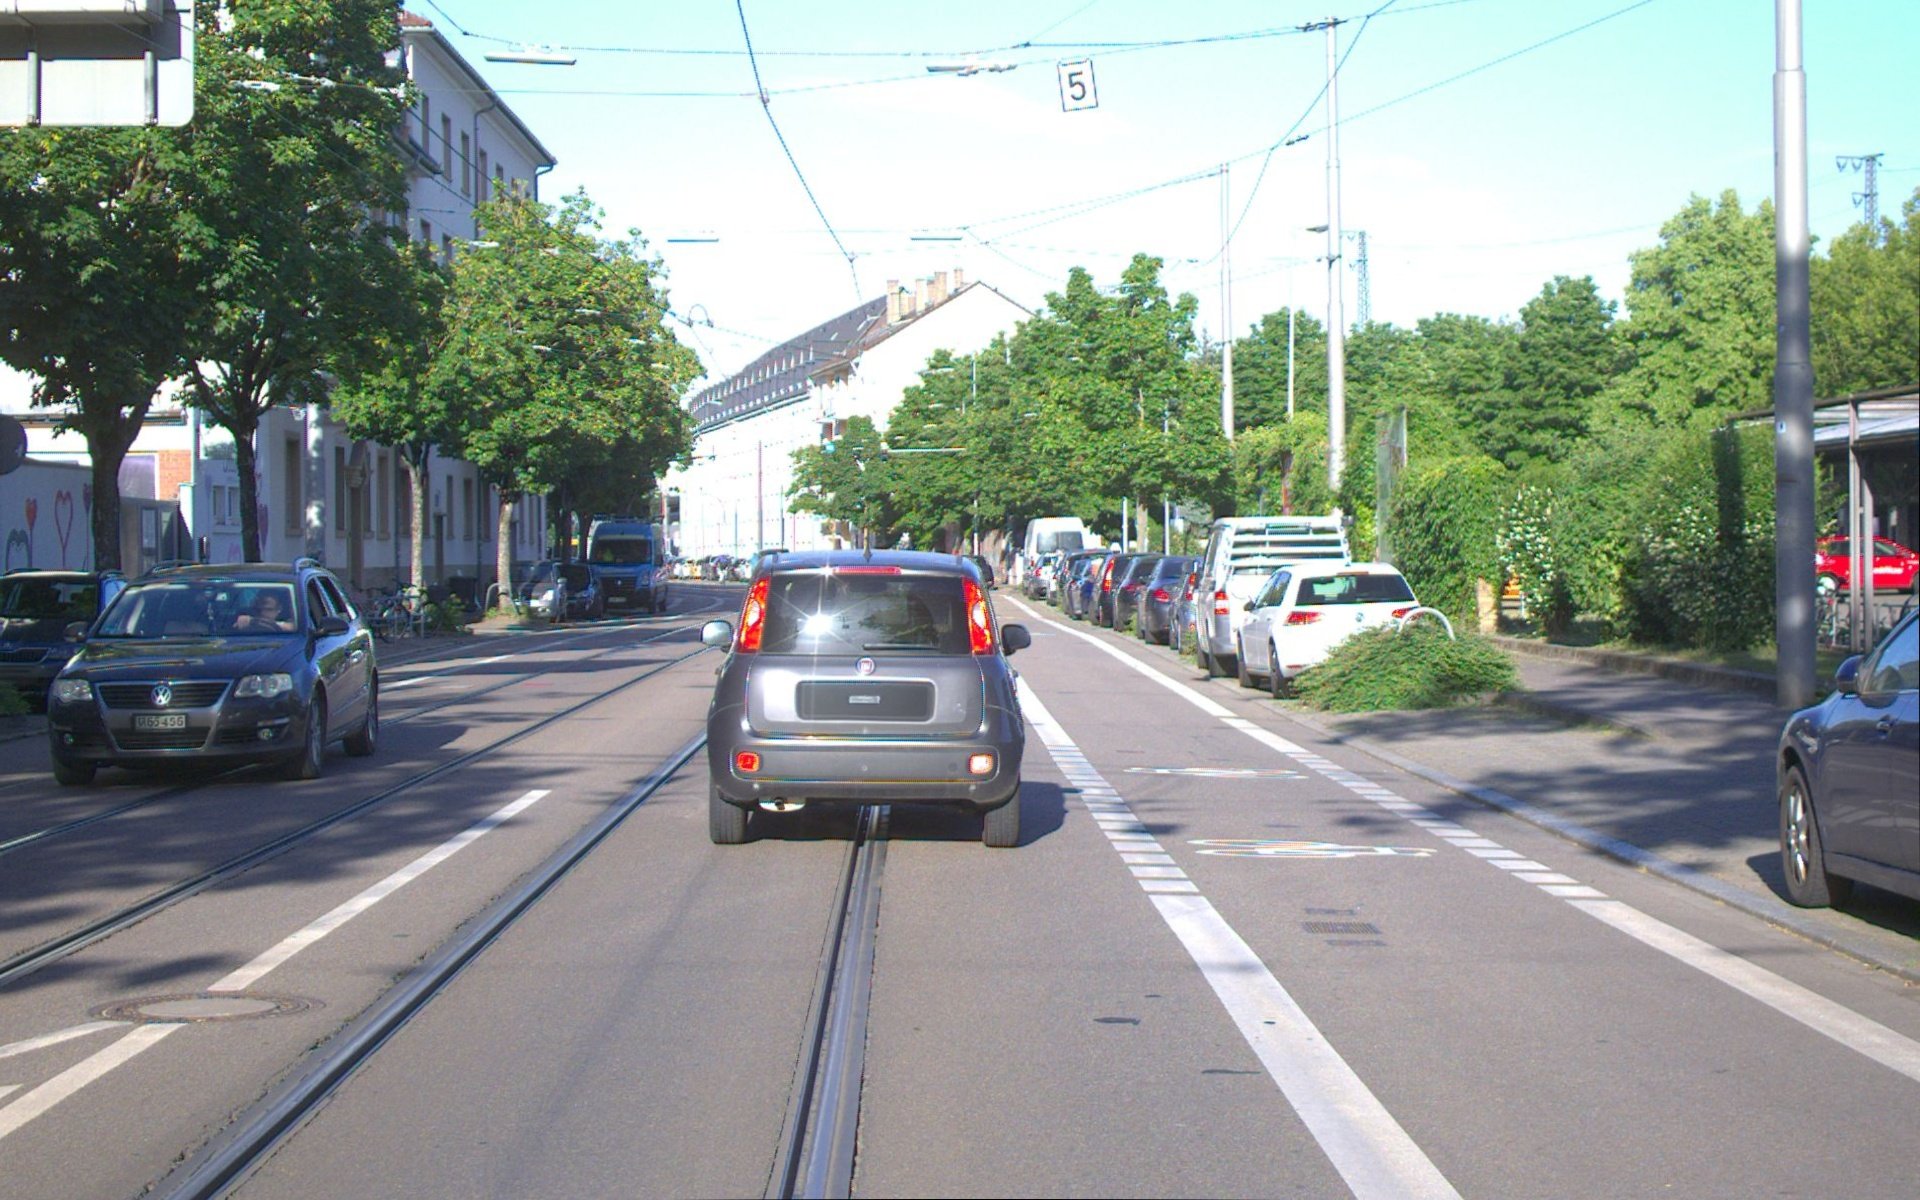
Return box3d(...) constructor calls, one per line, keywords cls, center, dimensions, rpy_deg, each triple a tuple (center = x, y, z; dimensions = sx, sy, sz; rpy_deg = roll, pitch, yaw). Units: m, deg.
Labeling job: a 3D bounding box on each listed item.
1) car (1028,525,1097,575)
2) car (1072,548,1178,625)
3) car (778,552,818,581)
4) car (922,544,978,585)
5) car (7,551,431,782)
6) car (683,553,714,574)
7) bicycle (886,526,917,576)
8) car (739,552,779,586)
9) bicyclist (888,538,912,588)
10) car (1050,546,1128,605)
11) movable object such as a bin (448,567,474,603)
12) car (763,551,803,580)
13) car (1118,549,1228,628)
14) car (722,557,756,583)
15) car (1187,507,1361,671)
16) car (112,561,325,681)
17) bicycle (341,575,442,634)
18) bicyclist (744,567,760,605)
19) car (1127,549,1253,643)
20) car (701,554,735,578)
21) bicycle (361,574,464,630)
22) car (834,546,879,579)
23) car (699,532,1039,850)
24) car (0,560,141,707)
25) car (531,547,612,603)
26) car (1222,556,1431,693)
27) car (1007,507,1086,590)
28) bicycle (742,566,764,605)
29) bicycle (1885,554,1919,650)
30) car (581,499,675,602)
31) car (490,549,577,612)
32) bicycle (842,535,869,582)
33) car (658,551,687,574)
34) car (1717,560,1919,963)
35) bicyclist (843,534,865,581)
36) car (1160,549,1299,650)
box3d(cls="car", center=(3.236, -1.586, 109.511), dimensions=(1.910, 1.524, 4.601), rpy_deg=(-1, 1, -2))
box3d(cls="car", center=(3.443, -0.293, 72.226), dimensions=(1.824, 1.487, 3.815), rpy_deg=(-2, 1, -2))
box3d(cls="car", center=(-8.732, -1.802, 185.049), dimensions=(1.655, 1.566, 3.500), rpy_deg=(1, 0, -11))
box3d(cls="car", center=(-0.408, -1.405, 135.448), dimensions=(1.688, 1.525, 4.001), rpy_deg=(-2, 1, -7))
box3d(cls="car", center=(-5.140, 0.410, 24.504), dimensions=(1.766, 1.458, 4.747), rpy_deg=(-1, 0, 3))
box3d(cls="car", center=(-17.243, -2.405, 226.348), dimensions=(1.582, 1.400, 3.377), rpy_deg=(1, 0, -11))
box3d(cls="bicycle", center=(-2.078, -1.747, 122.275), dimensions=(0.675, 1.741, 2.158), rpy_deg=(1, 0, -11))
box3d(cls="car", center=(-11.561, -1.792, 197.747), dimensions=(1.655, 1.937, 4.666), rpy_deg=(1, 0, -11))
box3d(cls="bicyclist", center=(-2.132, -1.322, 122.219), dimensions=(0.699, 1.753, 0.758), rpy_deg=(1, 0, -11))
box3d(cls="car", center=(3.564, -0.684, 95.529), dimensions=(1.727, 1.599, 4.343), rpy_deg=(1, 0, -3))
box3d(cls="movable object such as a bin", center=(-13.001, -0.382, 89.600), dimensions=(0.596, 0.931, 0.569), rpy_deg=(-1, 1, -3))
box3d(cls="car", center=(-9.744, -1.916, 189.376), dimensions=(1.655, 1.566, 3.877), rpy_deg=(1, 0, -11))
box3d(cls="car", center=(4.064, -0.239, 66.223), dimensions=(1.824, 1.447, 4.642), rpy_deg=(0, 1, 0))
box3d(cls="car", center=(-13.170, -1.774, 204.769), dimensions=(1.655, 1.495, 3.130), rpy_deg=(1, 0, -11))
box3d(cls="car", center=(3.997, -0.154, 44.472), dimensions=(1.854, 1.984, 5.242), rpy_deg=(0, 1, 1))
box3d(cls="car", center=(-9.754, 0.247, 45.535), dimensions=(1.864, 1.485, 4.662), rpy_deg=(1, 0, -1))
box3d(cls="bicycle", center=(-10.055, 0.079, 60.820), dimensions=(0.668, 1.036, 1.783), rpy_deg=(1, 0, 37))
box3d(cls="bicyclist", center=(-11.034, -0.760, 182.607), dimensions=(0.715, 2.007, 0.832), rpy_deg=(1, 0, -11))
box3d(cls="car", center=(3.830, -0.085, 57.880), dimensions=(1.824, 1.479, 4.601), rpy_deg=(1, 0, 0))
box3d(cls="car", center=(-15.138, -2.105, 215.048), dimensions=(1.582, 1.400, 3.377), rpy_deg=(-4, 1, -11))
box3d(cls="bicycle", center=(-10.260, 0.041, 64.481), dimensions=(0.532, 1.036, 1.982), rpy_deg=(1, 1, 44))
box3d(cls="car", center=(-5.023, -1.831, 167.014), dimensions=(1.635, 1.503, 3.398), rpy_deg=(-3, 1, -10))
box3d(cls="car", center=(-0.479, 0.422, 19.030), dimensions=(1.650, 1.536, 4.235), rpy_deg=(-1, 1, -1))
box3d(cls="car", center=(-10.030, 0.318, 37.276), dimensions=(1.772, 1.481, 4.306), rpy_deg=(1, 0, -7))
box3d(cls="car", center=(-10.229, -0.666, 90.763), dimensions=(1.651, 1.420, 4.190), rpy_deg=(1, 0, 0))
box3d(cls="car", center=(4.106, 0.244, 39.143), dimensions=(1.675, 1.413, 4.503), rpy_deg=(-2, 1, -2))
box3d(cls="car", center=(2.897, -1.737, 116.364), dimensions=(2.180, 2.656, 6.091), rpy_deg=(-2, 1, -2))
box3d(cls="bicycle", center=(-10.998, -0.771, 182.438), dimensions=(0.741, 2.007, 2.812), rpy_deg=(1, 0, -11))
box3d(cls="bicycle", center=(10.768, 0.036, 36.267), dimensions=(1.897, 1.004, 0.576), rpy_deg=(1, 0, 12))
box3d(cls="car", center=(-9.450, -1.406, 98.399), dimensions=(2.017, 2.816, 6.032), rpy_deg=(1, 0, 0))
box3d(cls="car", center=(-10.434, -0.485, 84.310), dimensions=(1.651, 1.486, 4.000), rpy_deg=(1, 0, 0))
box3d(cls="bicycle", center=(-3.984, -1.576, 130.960), dimensions=(0.675, 1.741, 2.158), rpy_deg=(1, 0, -11))
box3d(cls="car", center=(-20.066, -2.617, 239.969), dimensions=(1.582, 1.593, 3.377), rpy_deg=(1, 0, -11))
box3d(cls="car", center=(4.353, 0.580, 13.405), dimensions=(1.702, 1.476, 4.659), rpy_deg=(0, 0, -1))
box3d(cls="bicyclist", center=(-4.025, -1.619, 130.899), dimensions=(0.699, 1.753, 0.758), rpy_deg=(1, 0, -11))
box3d(cls="car", center=(4.100, -0.028, 52.826), dimensions=(1.873, 1.467, 4.075), rpy_deg=(1, 0, 1))
